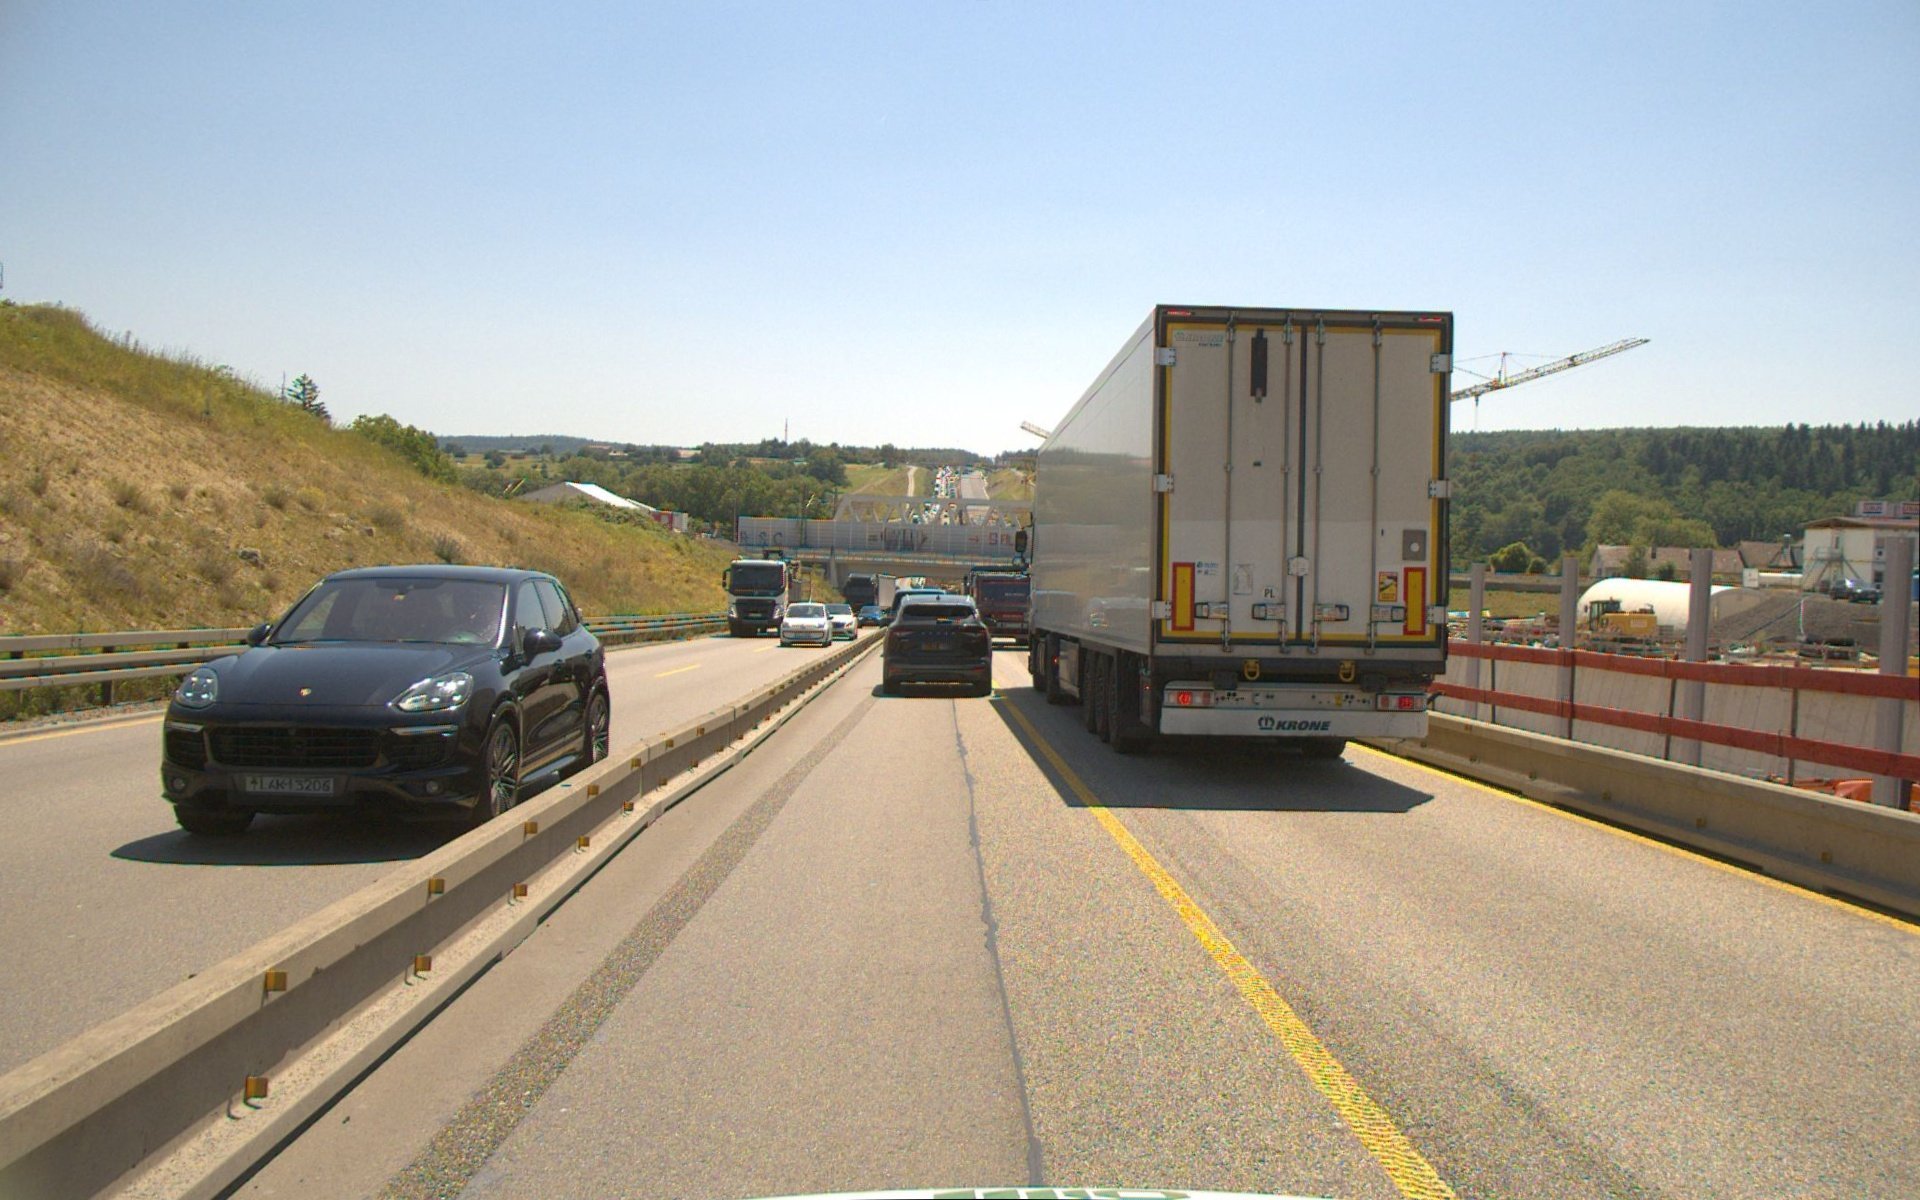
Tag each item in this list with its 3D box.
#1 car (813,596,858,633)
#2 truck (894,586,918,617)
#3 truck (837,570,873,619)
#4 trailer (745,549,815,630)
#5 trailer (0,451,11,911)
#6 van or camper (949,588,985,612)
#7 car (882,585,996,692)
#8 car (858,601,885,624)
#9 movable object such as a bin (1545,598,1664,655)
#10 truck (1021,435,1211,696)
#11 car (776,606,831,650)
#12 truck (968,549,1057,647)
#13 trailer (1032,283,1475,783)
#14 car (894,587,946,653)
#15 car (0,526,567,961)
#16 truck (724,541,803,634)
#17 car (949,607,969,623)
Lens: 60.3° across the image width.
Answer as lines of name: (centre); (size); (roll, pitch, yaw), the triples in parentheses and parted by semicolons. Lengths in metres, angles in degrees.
car: (-5.034, 0.566, 67.255); (1.650, 1.455, 4.120); (0, 0, -2)
truck: (-5.330, 0.168, 164.726); (2.222, 2.933, 5.850); (1, 0, -1)
truck: (-8.756, -0.457, 138.050); (2.711, 3.952, 4.963); (1, 0, -1)
trailer: (-8.706, -0.481, 80.858); (2.534, 3.701, 9.076); (0, 0, -1)
trailer: (-4.979, 0.364, 5.292); (1.614, 2.061, 4.267); (0, 0, -4)
van or camper: (1.029, -0.082, 252.444); (3.873, 3.479, 8.383); (1, 0, -11)
car: (-0.359, 0.600, 27.771); (1.764, 1.648, 3.297); (1, 1, -1)
car: (-5.687, 0.768, 106.321); (1.650, 1.455, 3.848); (0, 0, -2)
movable object such as a bin: (35.623, 1.407, 91.877); (2.829, 2.960, 9.478); (1, 0, 0)
truck: (2.583, -0.545, 28.842); (2.720, 4.129, 4.903); (1, 0, -1)
car: (-5.287, 0.926, 56.050); (1.650, 1.455, 3.291); (0, 0, -2)
truck: (1.764, -0.056, 61.024); (2.756, 3.190, 12.836); (1, 0, 0)
trailer: (2.765, -0.529, 20.833); (2.745, 4.129, 14.112); (1, 0, -1)
car: (-1.138, 0.559, 47.934); (1.444, 1.826, 3.297); (0, 0, 0)
car: (-3.574, 0.574, 8.898); (1.852, 1.738, 4.561); (0, 0, -1)
truck: (-8.542, -0.508, 72.839); (2.534, 3.788, 9.330); (0, 0, -1)
car: (-0.090, 1.212, 133.391); (1.508, 1.227, 3.309); (0, 0, -3)
